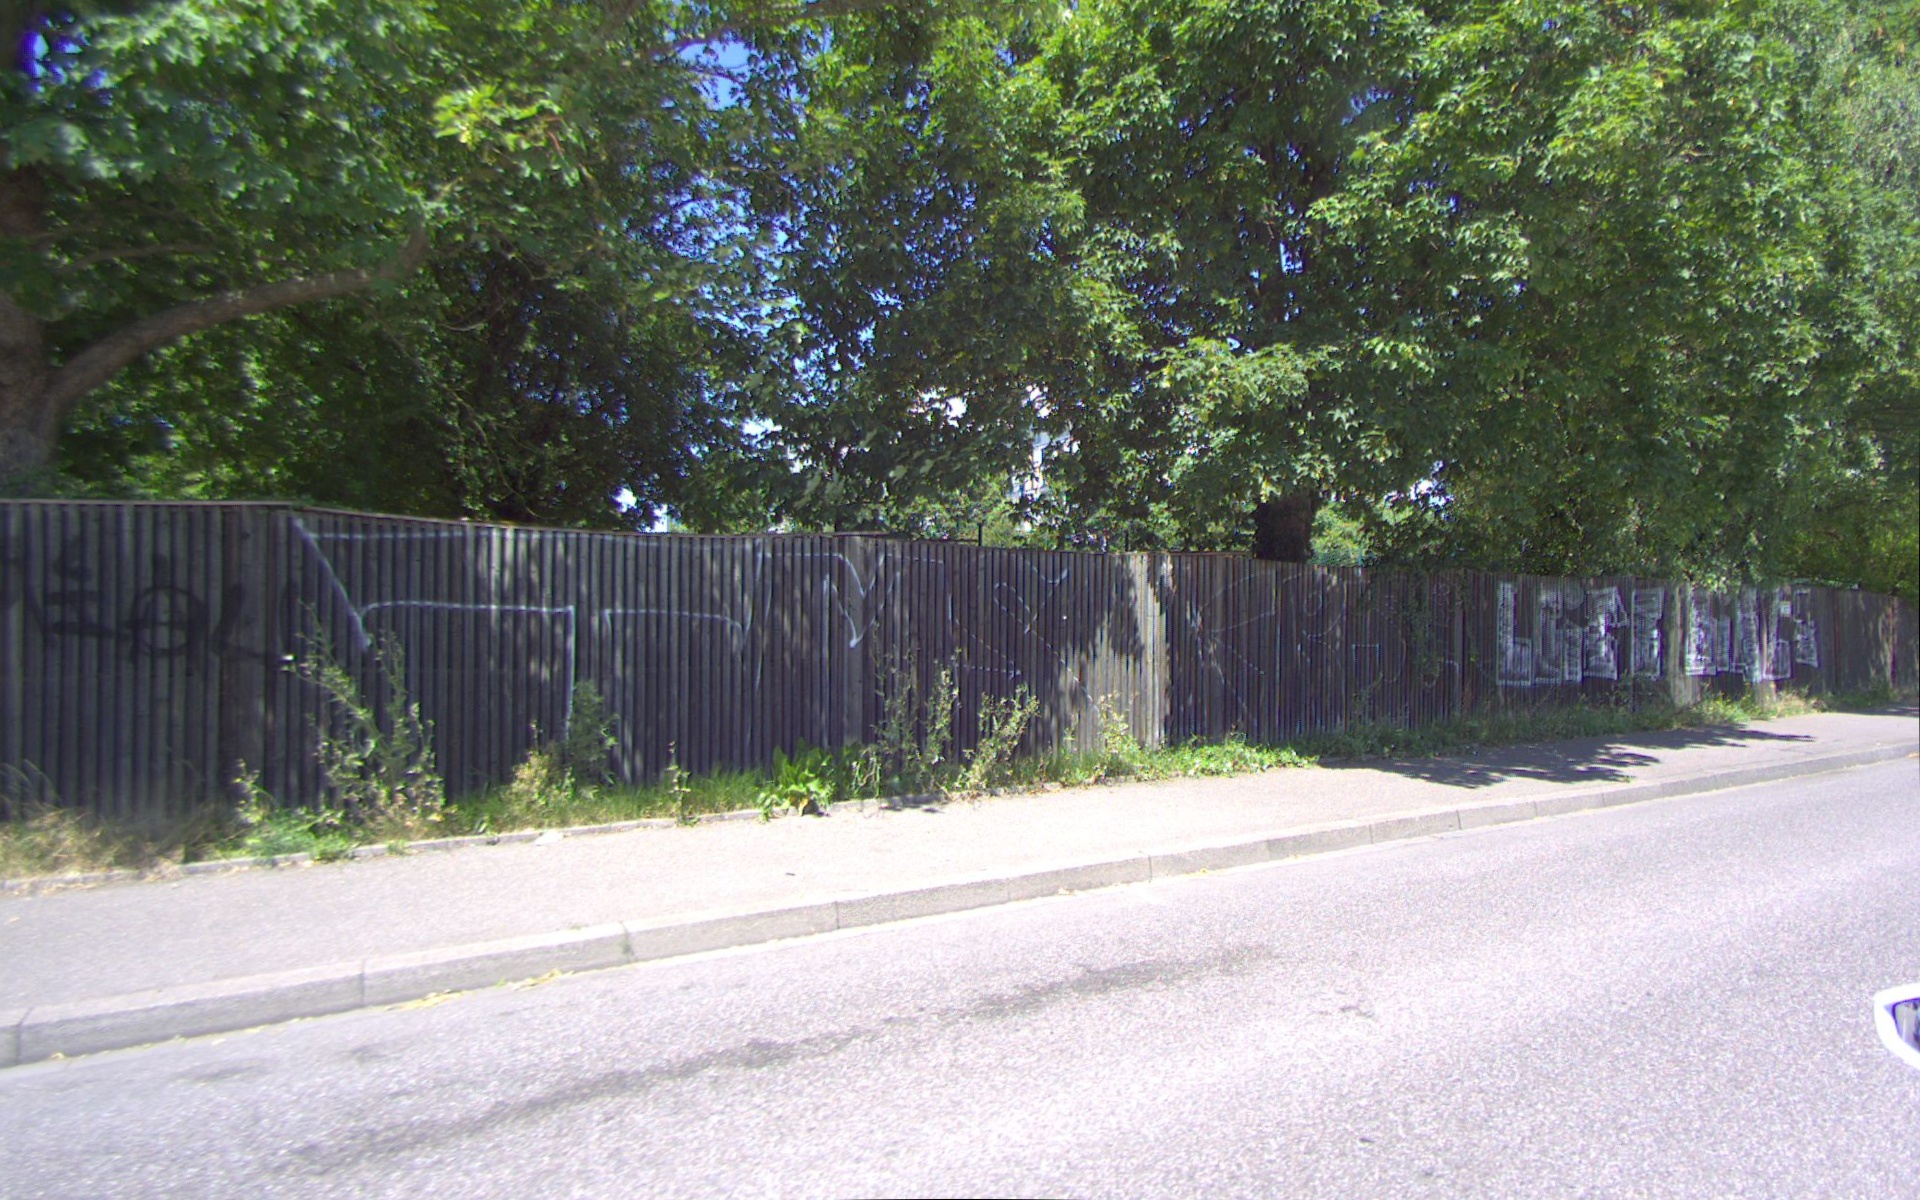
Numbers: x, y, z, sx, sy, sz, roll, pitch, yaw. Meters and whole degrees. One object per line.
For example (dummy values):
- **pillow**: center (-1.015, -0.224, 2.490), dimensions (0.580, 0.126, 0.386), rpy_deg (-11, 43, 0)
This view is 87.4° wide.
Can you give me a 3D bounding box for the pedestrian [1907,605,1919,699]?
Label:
- **pedestrian**: center (18.235, 0.962, 18.682), dimensions (0.810, 1.748, 0.718), rpy_deg (0, -1, -34)
